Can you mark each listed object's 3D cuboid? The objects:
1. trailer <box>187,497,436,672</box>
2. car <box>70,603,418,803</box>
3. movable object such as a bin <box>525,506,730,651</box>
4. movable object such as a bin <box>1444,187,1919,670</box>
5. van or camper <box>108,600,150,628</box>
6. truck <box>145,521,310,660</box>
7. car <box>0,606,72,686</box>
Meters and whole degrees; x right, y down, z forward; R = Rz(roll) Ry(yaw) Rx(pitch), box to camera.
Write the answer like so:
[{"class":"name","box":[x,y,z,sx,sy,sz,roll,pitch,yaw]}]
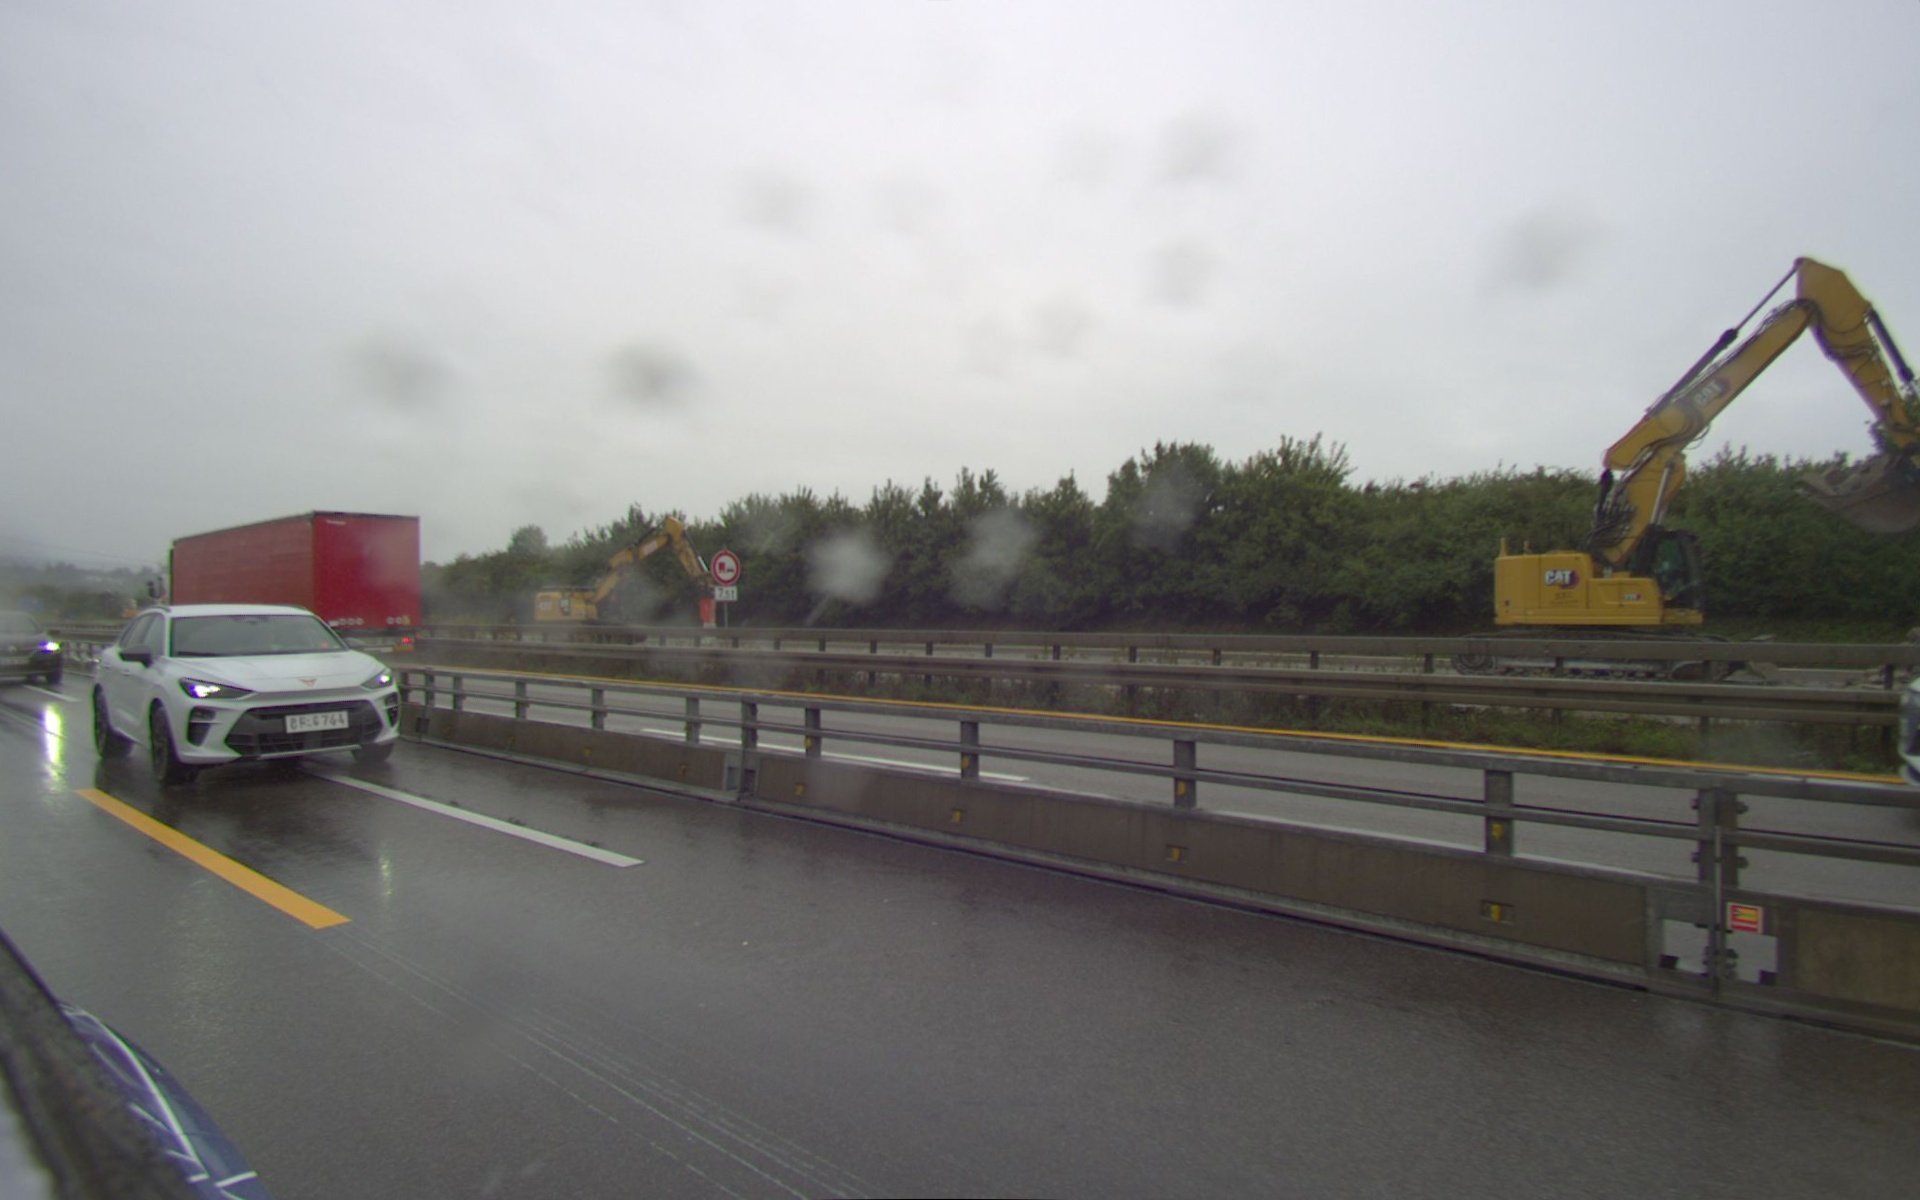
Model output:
[{"class":"trailer","box":[-19.357,-0.305,29.741,11.050,4.327,2.946,-1,-2,40]},{"class":"car","box":[-7.542,0.841,10.421,5.006,1.562,1.907,-1,0,42]},{"class":"movable object such as a bin","box":[-15.671,-0.893,47.073,11.044,5.959,4.126,-1,1,43]},{"class":"movable object such as a bin","box":[14.972,-2.913,20.834,8.307,8.204,3.558,-1,0,43]},{"class":"van or camper","box":[-136.480,2.241,166.129,8.490,4.356,3.337,-1,0,36]},{"class":"truck","box":[-25.085,-0.238,34.539,6.795,4.304,2.977,-1,-2,40]},{"class":"car","box":[-21.539,0.979,22.563,5.194,1.640,2.042,-1,-1,42]}]
